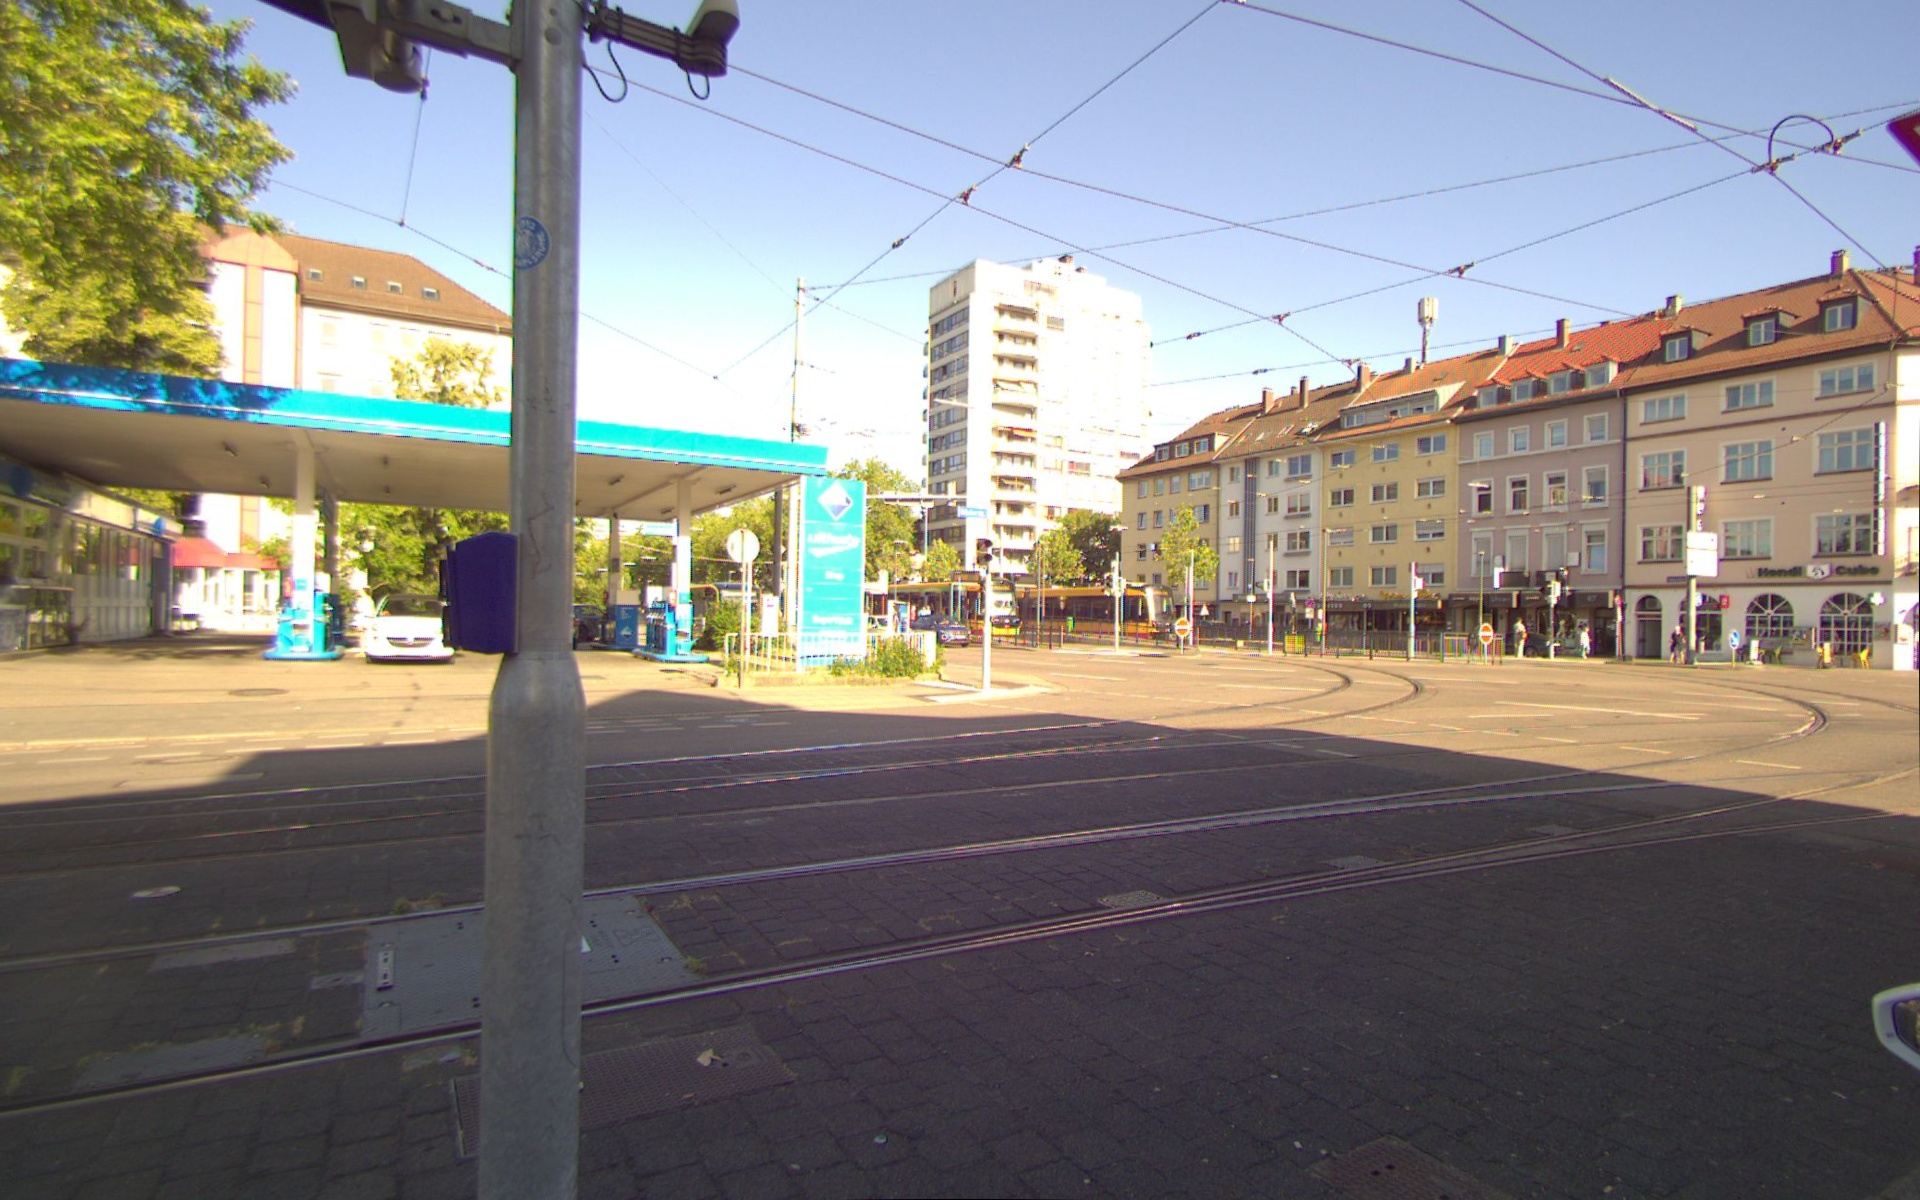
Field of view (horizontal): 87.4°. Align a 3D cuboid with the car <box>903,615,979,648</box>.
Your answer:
[{"bbox_3d":[-0.948,1.490,48.356,1.937,1.475,4.077,1,0,-30],"label":"car"}]

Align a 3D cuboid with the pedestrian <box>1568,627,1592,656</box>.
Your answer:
[{"bbox_3d":[34.156,2.296,55.338,0.849,1.547,0.786,1,-1,-29],"label":"pedestrian"}]

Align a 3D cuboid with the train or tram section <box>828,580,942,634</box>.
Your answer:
[{"bbox_3d":[-5.242,0.519,67.589,3.252,3.335,10.157,1,-1,-33],"label":"train or tram section"}]

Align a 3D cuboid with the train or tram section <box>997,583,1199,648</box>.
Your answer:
[{"bbox_3d":[8.137,0.938,63.900,3.275,3.617,16.451,1,-1,-30],"label":"train or tram section"}]

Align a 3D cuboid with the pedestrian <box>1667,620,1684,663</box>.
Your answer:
[{"bbox_3d":[34.221,1.979,48.031,0.498,2.040,0.507,1,-1,-27],"label":"pedestrian"}]

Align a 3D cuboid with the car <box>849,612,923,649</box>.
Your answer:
[{"bbox_3d":[-3.496,1.392,46.814,1.976,1.615,3.970,1,-1,-29],"label":"car"}]

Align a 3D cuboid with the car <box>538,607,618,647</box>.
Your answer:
[{"bbox_3d":[-17.193,1.212,45.389,1.960,1.685,4.001,1,-1,2],"label":"car"}]

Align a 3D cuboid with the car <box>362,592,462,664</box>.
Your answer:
[{"bbox_3d":[-12.259,0.607,22.440,1.773,1.461,3.968,2,-1,-30],"label":"car"}]

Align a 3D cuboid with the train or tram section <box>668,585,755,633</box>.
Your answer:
[{"bbox_3d":[-15.021,0.451,60.045,2.233,2.627,10.398,2,0,-30],"label":"train or tram section"}]

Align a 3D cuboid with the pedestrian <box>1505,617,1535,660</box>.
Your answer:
[{"bbox_3d":[24.507,1.691,43.965,0.801,1.842,0.871,1,-1,-29],"label":"pedestrian"}]

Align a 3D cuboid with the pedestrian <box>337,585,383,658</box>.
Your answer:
[{"bbox_3d":[-13.903,0.504,23.288,0.801,1.652,0.643,1,-1,-24],"label":"pedestrian"}]

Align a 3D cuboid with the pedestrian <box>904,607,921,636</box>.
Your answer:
[{"bbox_3d":[-2.775,1.246,58.769,0.711,1.646,0.701,0,-1,33],"label":"pedestrian"}]

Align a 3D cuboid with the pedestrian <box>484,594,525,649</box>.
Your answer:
[{"bbox_3d":[-15.309,0.710,33.773,0.896,1.826,0.893,0,-1,34],"label":"pedestrian"}]

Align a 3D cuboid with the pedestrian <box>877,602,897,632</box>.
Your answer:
[{"bbox_3d":[-4.566,1.074,62.618,0.902,1.826,0.887,1,-1,-33],"label":"pedestrian"}]

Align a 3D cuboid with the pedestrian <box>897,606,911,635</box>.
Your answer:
[{"bbox_3d":[-3.234,1.186,57.808,0.506,1.646,0.666,0,-1,30],"label":"pedestrian"}]

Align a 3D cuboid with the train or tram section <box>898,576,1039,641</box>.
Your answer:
[{"bbox_3d":[0.240,0.515,58.971,3.252,3.459,10.157,1,-1,-33],"label":"train or tram section"}]

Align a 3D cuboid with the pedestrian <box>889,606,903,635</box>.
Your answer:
[{"bbox_3d":[-3.683,1.172,57.895,0.500,1.646,0.605,0,-1,30],"label":"pedestrian"}]

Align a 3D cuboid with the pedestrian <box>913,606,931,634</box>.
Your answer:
[{"bbox_3d":[-2.184,1.157,58.210,0.791,1.646,0.706,1,-1,-33],"label":"pedestrian"}]

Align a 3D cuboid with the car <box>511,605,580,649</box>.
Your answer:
[{"bbox_3d":[-13.490,0.864,32.584,1.752,1.332,3.520,1,-1,-28],"label":"car"}]

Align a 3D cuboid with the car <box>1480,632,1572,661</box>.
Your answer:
[{"bbox_3d":[30.785,2.492,54.725,1.980,1.483,3.962,1,-1,-34],"label":"car"}]

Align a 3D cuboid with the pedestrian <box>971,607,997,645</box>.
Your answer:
[{"bbox_3d":[1.163,1.246,48.503,0.902,1.826,0.887,1,-1,-33],"label":"pedestrian"}]
